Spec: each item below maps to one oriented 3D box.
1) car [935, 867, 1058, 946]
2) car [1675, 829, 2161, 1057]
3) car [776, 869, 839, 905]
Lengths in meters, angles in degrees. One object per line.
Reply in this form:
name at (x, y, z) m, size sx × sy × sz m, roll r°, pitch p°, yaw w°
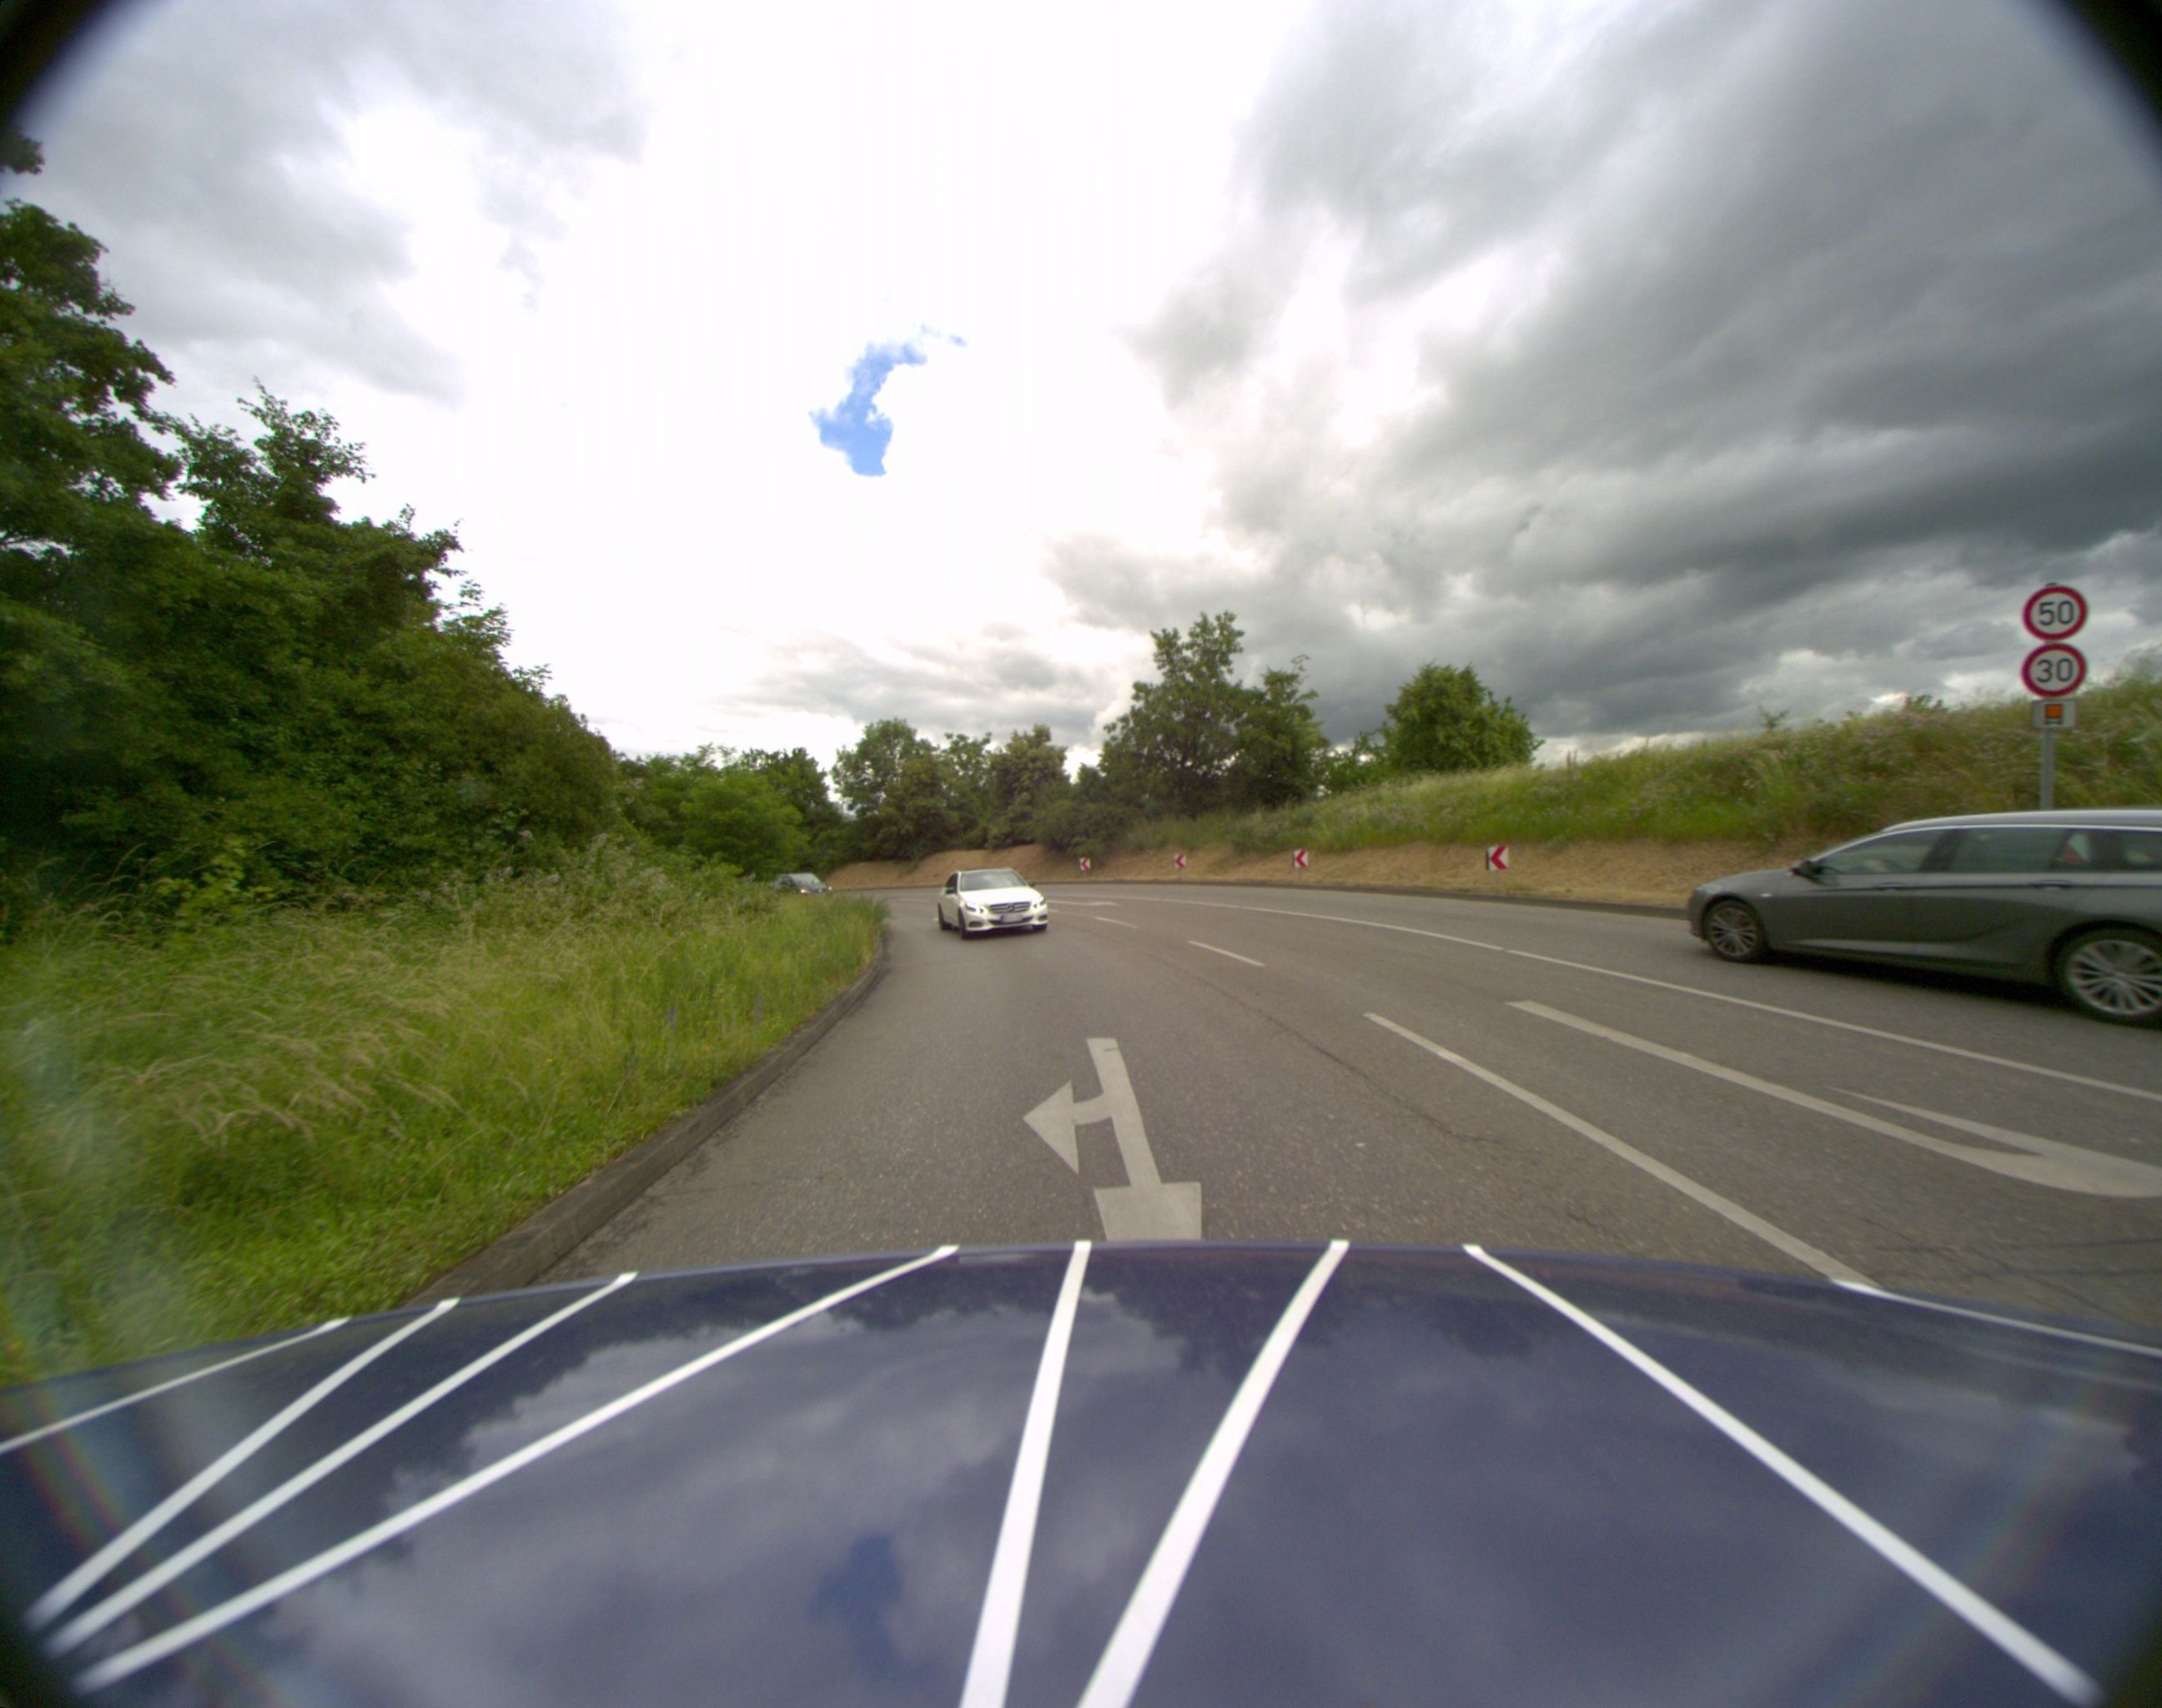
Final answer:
car at (-2.074, 1.097, 17.533) m, size 1.890 × 1.414 × 3.994 m, roll -5°, pitch 1°, yaw -19°
car at (7.700, 0.541, 6.435) m, size 1.770 × 1.412 × 4.420 m, roll -2°, pitch 0°, yaw -1°
car at (-13.327, 1.620, 36.919) m, size 1.827 × 1.535 × 3.718 m, roll -4°, pitch -1°, yaw -37°
